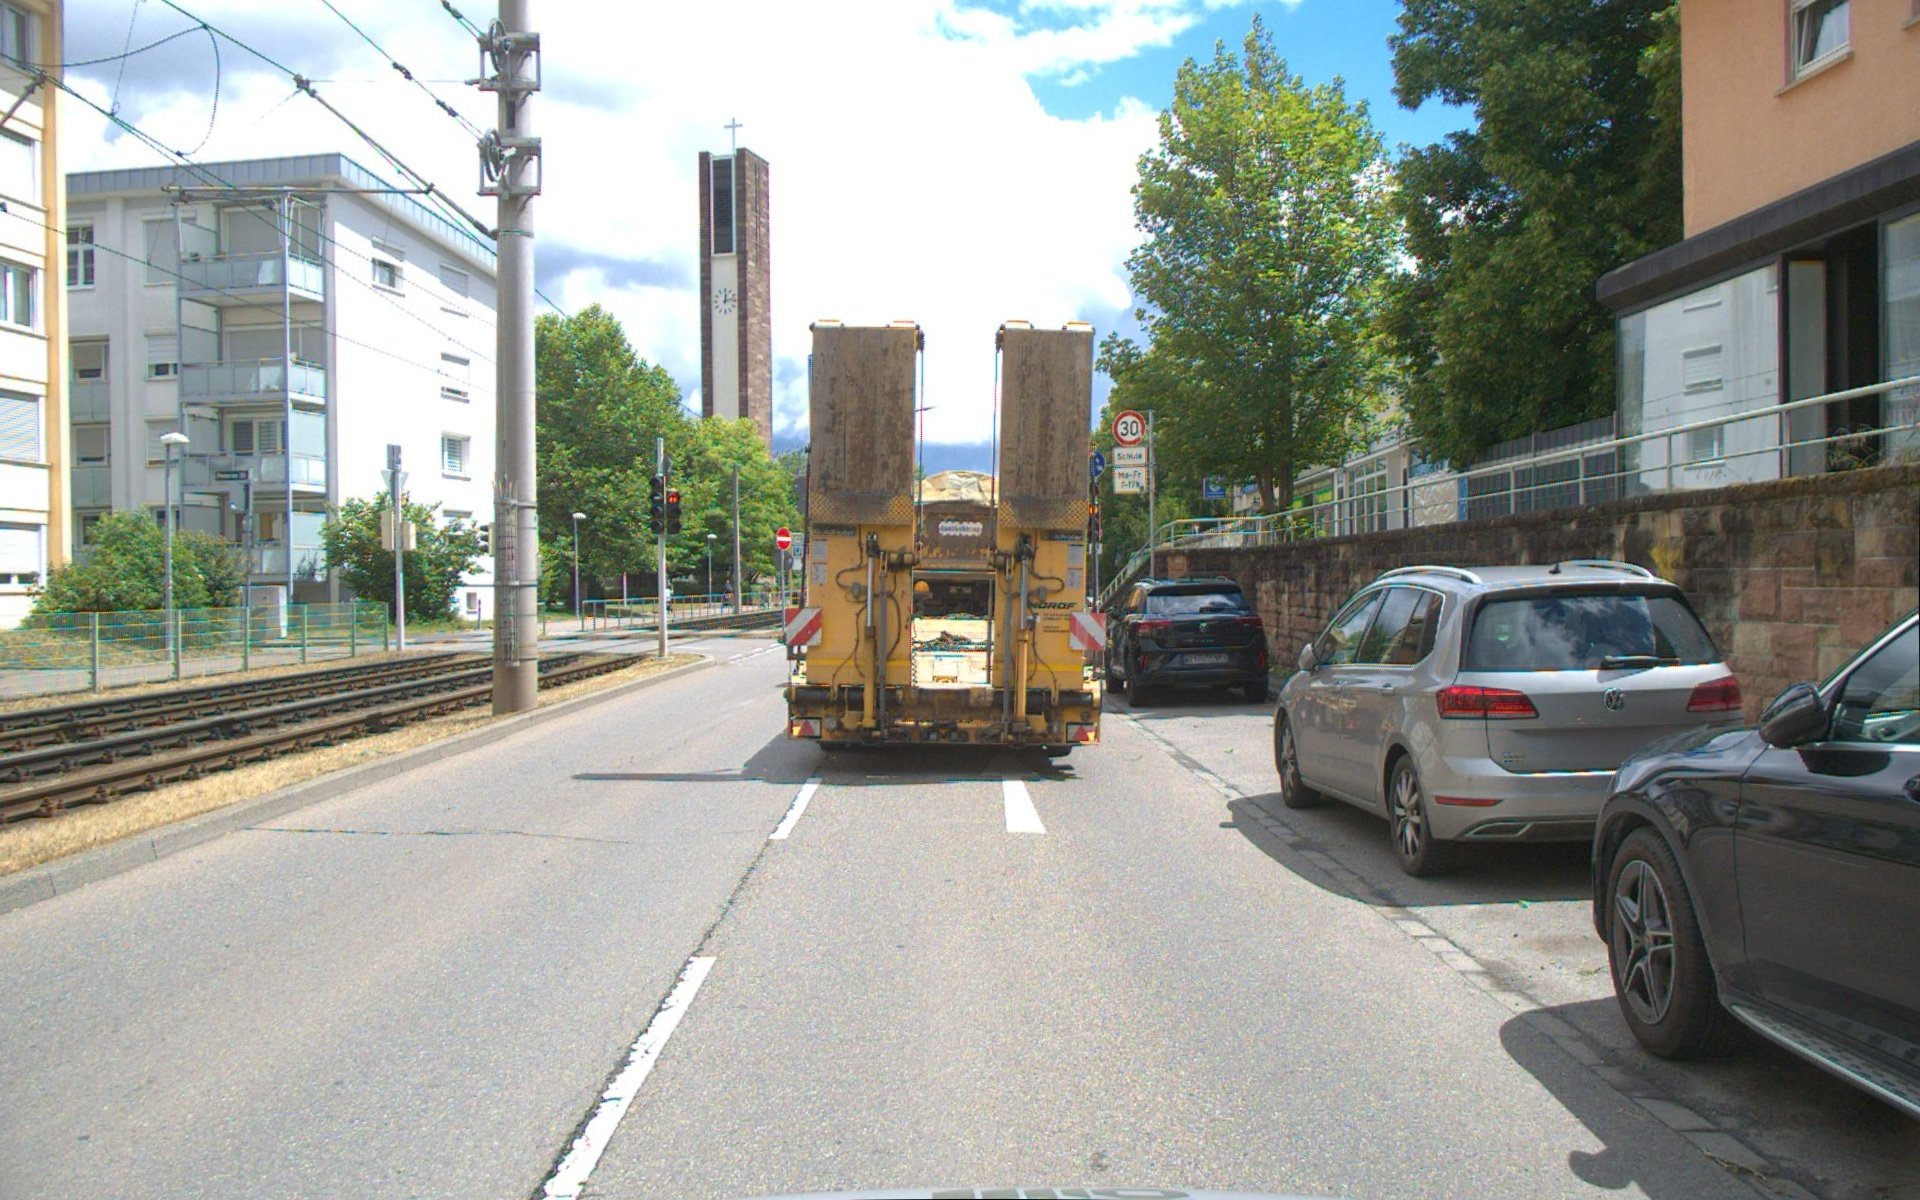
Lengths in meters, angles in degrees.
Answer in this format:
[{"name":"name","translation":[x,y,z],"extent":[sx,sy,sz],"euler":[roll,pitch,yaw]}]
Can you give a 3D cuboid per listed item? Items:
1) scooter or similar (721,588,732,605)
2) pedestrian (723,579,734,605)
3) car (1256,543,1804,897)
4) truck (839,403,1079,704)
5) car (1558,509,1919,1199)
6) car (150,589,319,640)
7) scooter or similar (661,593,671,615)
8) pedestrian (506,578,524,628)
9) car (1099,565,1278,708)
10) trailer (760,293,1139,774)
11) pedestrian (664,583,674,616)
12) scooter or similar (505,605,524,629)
[{"name":"scooter or similar","translation":[-13.584,-0.198,96.250],"extent":[0.495,0.988,0.645],"euler":[1,0,-1]},{"name":"pedestrian","translation":[-13.567,-0.475,96.897],"extent":[0.552,1.540,0.645],"euler":[1,0,-1]},{"name":"car","translation":[3.122,0.550,10.060],"extent":[1.753,1.646,4.248],"euler":[-2,1,-1]},{"name":"truck","translation":[-0.009,-0.590,22.562],"extent":[2.882,3.635,4.877],"euler":[-1,0,0]},{"name":"car","translation":[3.133,0.575,3.830],"extent":[1.754,1.646,4.447],"euler":[-2,1,-1]},{"name":"car","translation":[-20.410,0.404,46.607],"extent":[3.902,1.369,1.903],"euler":[0,0,8]},{"name":"scooter or similar","translation":[-14.186,0.189,79.840],"extent":[0.331,1.076,0.688],"euler":[0,1,3]},{"name":"pedestrian","translation":[-14.249,0.088,52.947],"extent":[0.428,1.608,0.475],"euler":[-1,0,4]},{"name":"car","translation":[2.930,0.421,22.000],"extent":[1.813,1.668,4.000],"euler":[-2,0,0]},{"name":"trailer","translation":[-0.040,-0.557,17.066],"extent":[2.884,3.664,8.684],"euler":[-1,1,0]},{"name":"pedestrian","translation":[-14.164,-0.028,80.478],"extent":[0.341,1.564,0.557],"euler":[-1,0,3]},{"name":"scooter or similar","translation":[-14.125,0.537,52.472],"extent":[0.428,0.760,0.475],"euler":[-1,0,5]}]
